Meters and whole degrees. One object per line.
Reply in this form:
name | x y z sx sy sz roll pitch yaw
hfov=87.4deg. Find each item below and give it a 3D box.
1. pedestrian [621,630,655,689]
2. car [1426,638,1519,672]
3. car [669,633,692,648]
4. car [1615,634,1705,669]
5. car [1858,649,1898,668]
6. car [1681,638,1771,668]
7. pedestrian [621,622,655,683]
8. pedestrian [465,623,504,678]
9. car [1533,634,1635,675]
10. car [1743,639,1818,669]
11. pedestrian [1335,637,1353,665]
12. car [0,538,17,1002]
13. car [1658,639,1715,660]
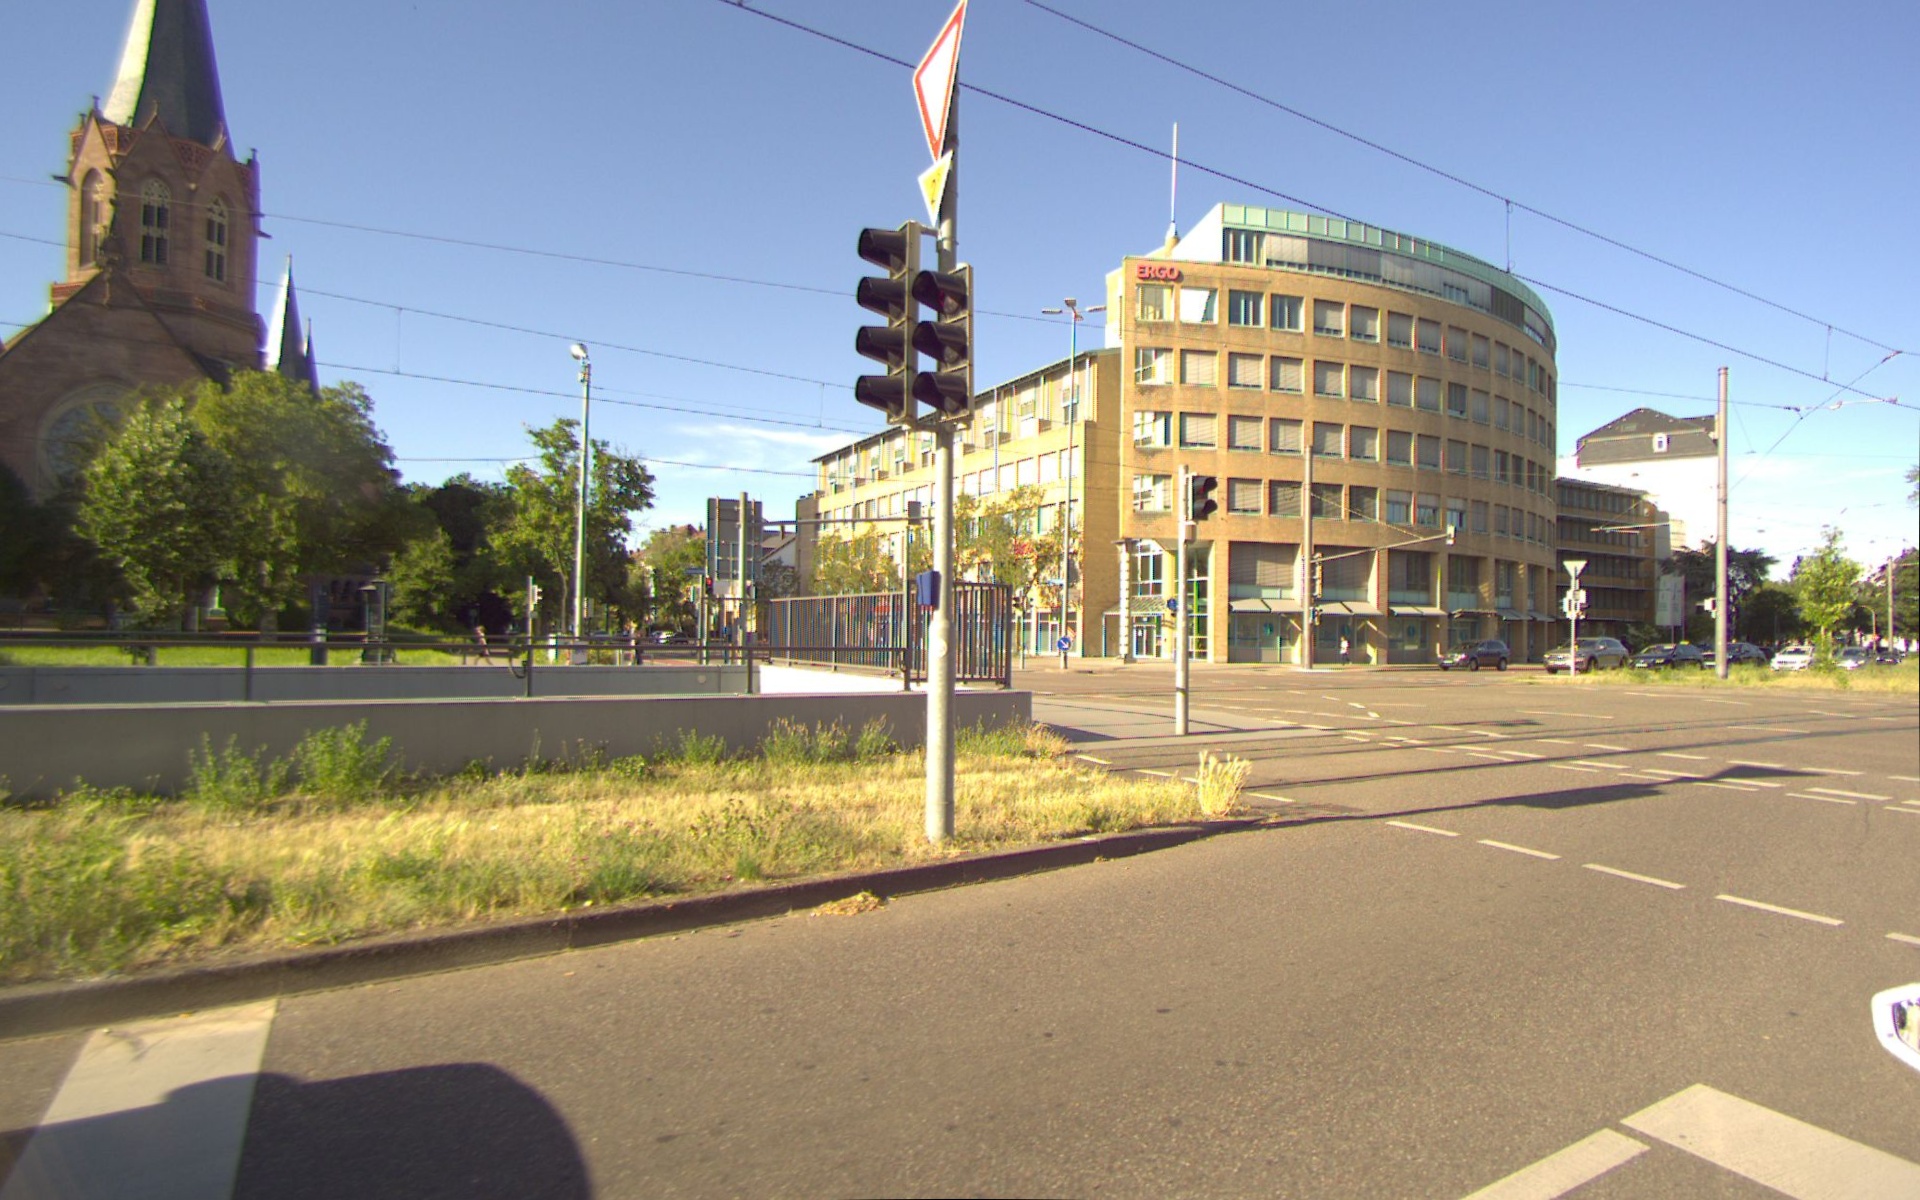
pedestrian | -11.394 2.097 35.535 0.914 2.040 0.872 2 0 -29
car | 28.365 3.061 55.546 5.151 1.690 2.107 2 0 -31
car | -33.829 4.932 121.577 1.816 1.595 3.912 2 0 -29
car | 34.864 2.572 50.021 4.610 1.537 1.983 2 0 -32
car | 89.789 5.724 98.250 4.241 1.532 1.981 6 -3 -35
car | 41.591 2.868 54.550 4.957 1.466 1.986 2 0 -28
pedestrian | -11.092 1.814 34.619 0.914 2.040 0.872 2 0 -29
pedestrian | -16.639 1.764 35.164 1.103 1.871 0.837 2 0 -33
car | 28.995 2.499 46.634 5.030 1.757 2.088 2 -1 -32
car | 47.461 3.124 58.098 4.605 1.617 1.983 2 0 -32
pedestrian | 21.698 2.890 56.809 0.702 1.552 0.596 2 0 -22
car | -4.016 0.546 0.837 4.306 1.557 1.984 2 0 -31
car | 64.780 4.394 89.628 3.929 1.602 1.996 2 0 31
